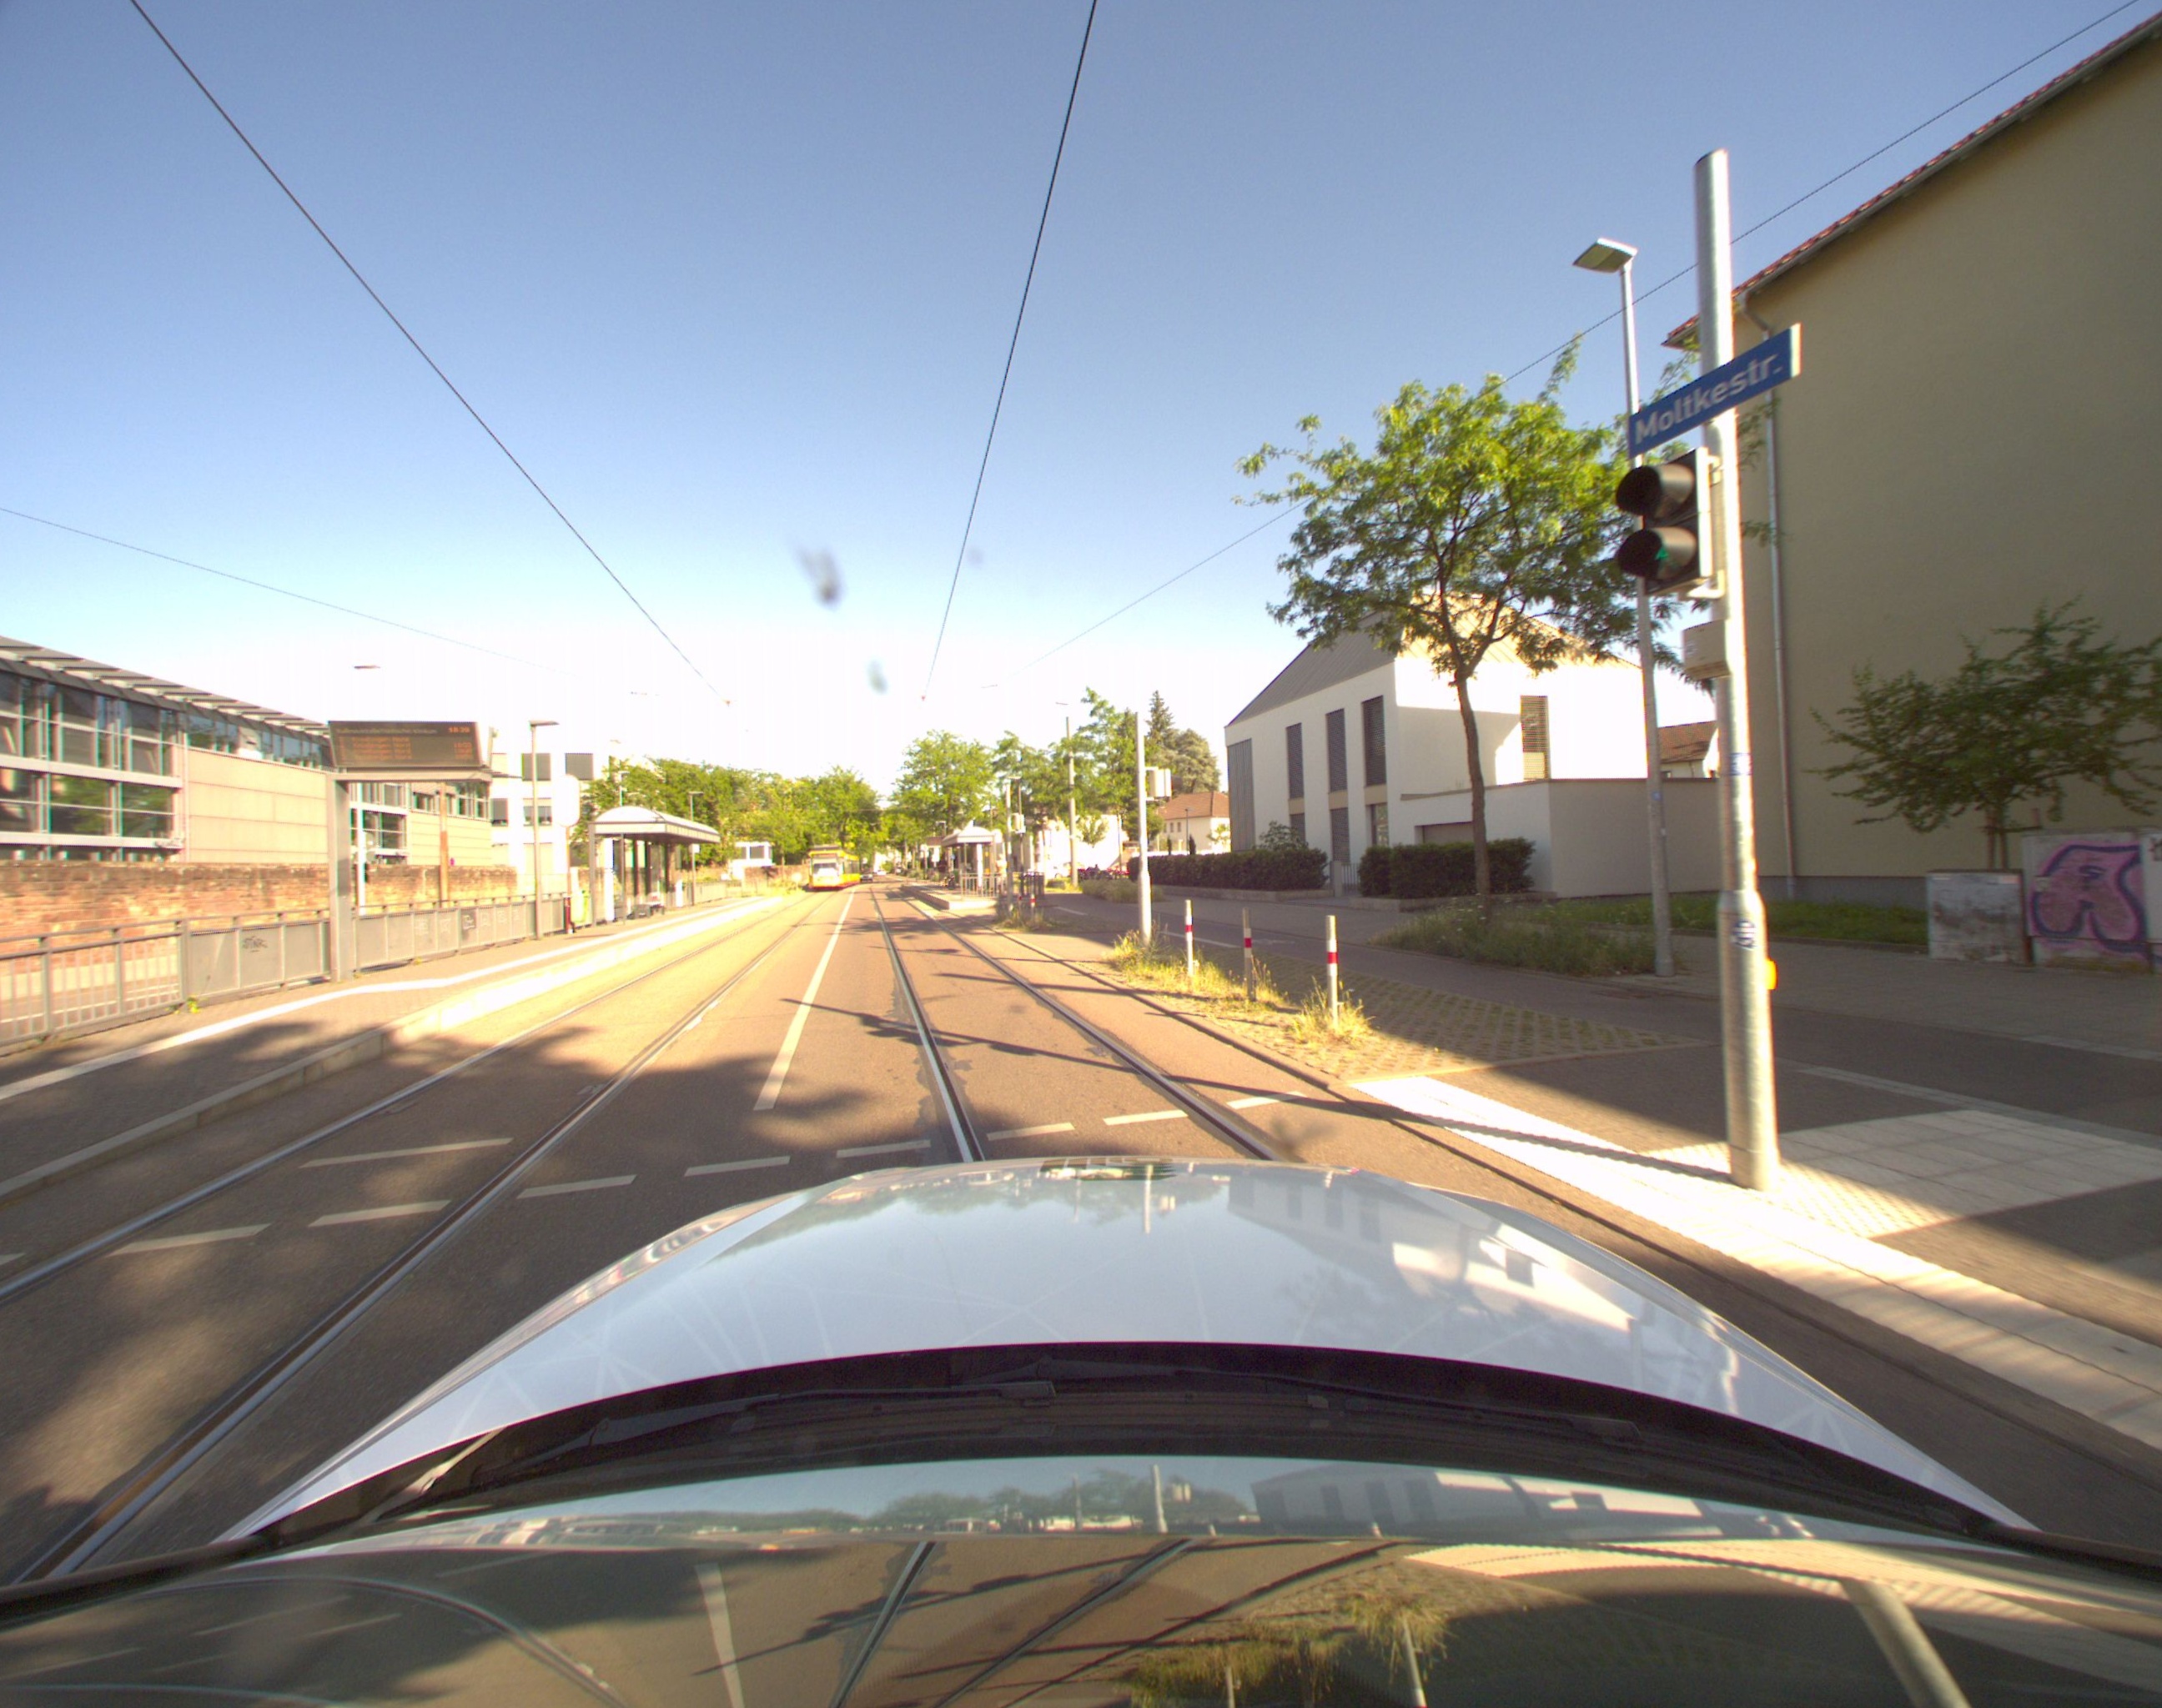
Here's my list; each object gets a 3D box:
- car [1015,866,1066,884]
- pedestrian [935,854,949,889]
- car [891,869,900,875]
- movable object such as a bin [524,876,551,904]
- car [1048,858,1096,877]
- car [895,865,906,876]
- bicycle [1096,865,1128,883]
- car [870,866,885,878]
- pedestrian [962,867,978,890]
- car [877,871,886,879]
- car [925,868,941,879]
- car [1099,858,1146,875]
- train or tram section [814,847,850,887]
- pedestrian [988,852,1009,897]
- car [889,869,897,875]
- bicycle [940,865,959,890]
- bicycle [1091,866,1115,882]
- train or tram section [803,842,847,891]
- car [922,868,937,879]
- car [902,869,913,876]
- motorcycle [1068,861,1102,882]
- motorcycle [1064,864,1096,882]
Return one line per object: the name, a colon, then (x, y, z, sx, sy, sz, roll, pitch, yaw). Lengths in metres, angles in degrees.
car: (-3.744, 1.932, 74.631, 4.597, 1.466, 1.978, -3, -2, -6)
pedestrian: (-7.663, 0.964, 44.802, 0.712, 1.854, 0.725, -1, -1, -14)
car: (-53.624, 5.136, 235.447, 2.007, 1.675, 4.368, -4, 0, -15)
movable object such as a bin: (-30.286, 1.987, 45.395, 0.883, 1.447, 1.302, -2, -1, -16)
car: (-0.857, 1.298, 77.845, 4.173, 1.642, 1.970, -2, -1, -17)
car: (-45.333, 4.160, 204.477, 2.250, 2.654, 5.555, -2, -1, -15)
bicycle: (1.907, 1.237, 50.422, 1.905, 0.979, 0.487, -2, -1, -22)
car: (-28.279, 2.507, 113.402, 1.765, 1.663, 4.194, -2, -1, -11)
pedestrian: (-5.668, 1.244, 41.645, 0.739, 1.117, 0.655, -1, -1, -16)
car: (-45.917, 4.895, 187.108, 1.868, 1.675, 4.153, -3, -1, -13)
car: (-20.320, 2.669, 112.026, 1.752, 1.495, 4.420, -3, 0, -15)
car: (4.072, 1.176, 79.675, 4.179, 1.508, 1.967, -2, -1, -22)
train or tram section: (-22.771, 1.186, 74.709, 2.809, 3.460, 6.633, -2, -1, -15)
pedestrian: (-3.130, 0.775, 30.976, 0.673, 1.704, 0.687, -1, -1, -16)
car: (-58.174, 5.476, 252.202, 2.004, 1.675, 4.375, -4, 0, -11)
bicycle: (-6.803, 1.197, 42.103, 0.621, 1.229, 1.954, -1, -1, -19)
bicycle: (1.413, 1.257, 51.804, 1.476, 0.979, 0.413, -2, -1, -22)
train or tram section: (-19.376, 0.957, 61.873, 2.809, 3.460, 6.633, -2, -1, -15)
car: (-21.931, 2.770, 118.113, 1.752, 1.495, 3.975, -3, 0, -15)
car: (-37.186, 3.939, 174.649, 1.788, 1.448, 4.276, -5, 0, -17)
motorcycle: (0.263, 1.188, 54.993, 2.086, 1.274, 0.856, -2, -1, -22)
motorcycle: (-0.056, 1.298, 56.616, 2.006, 1.158, 0.856, -2, -1, -22)
